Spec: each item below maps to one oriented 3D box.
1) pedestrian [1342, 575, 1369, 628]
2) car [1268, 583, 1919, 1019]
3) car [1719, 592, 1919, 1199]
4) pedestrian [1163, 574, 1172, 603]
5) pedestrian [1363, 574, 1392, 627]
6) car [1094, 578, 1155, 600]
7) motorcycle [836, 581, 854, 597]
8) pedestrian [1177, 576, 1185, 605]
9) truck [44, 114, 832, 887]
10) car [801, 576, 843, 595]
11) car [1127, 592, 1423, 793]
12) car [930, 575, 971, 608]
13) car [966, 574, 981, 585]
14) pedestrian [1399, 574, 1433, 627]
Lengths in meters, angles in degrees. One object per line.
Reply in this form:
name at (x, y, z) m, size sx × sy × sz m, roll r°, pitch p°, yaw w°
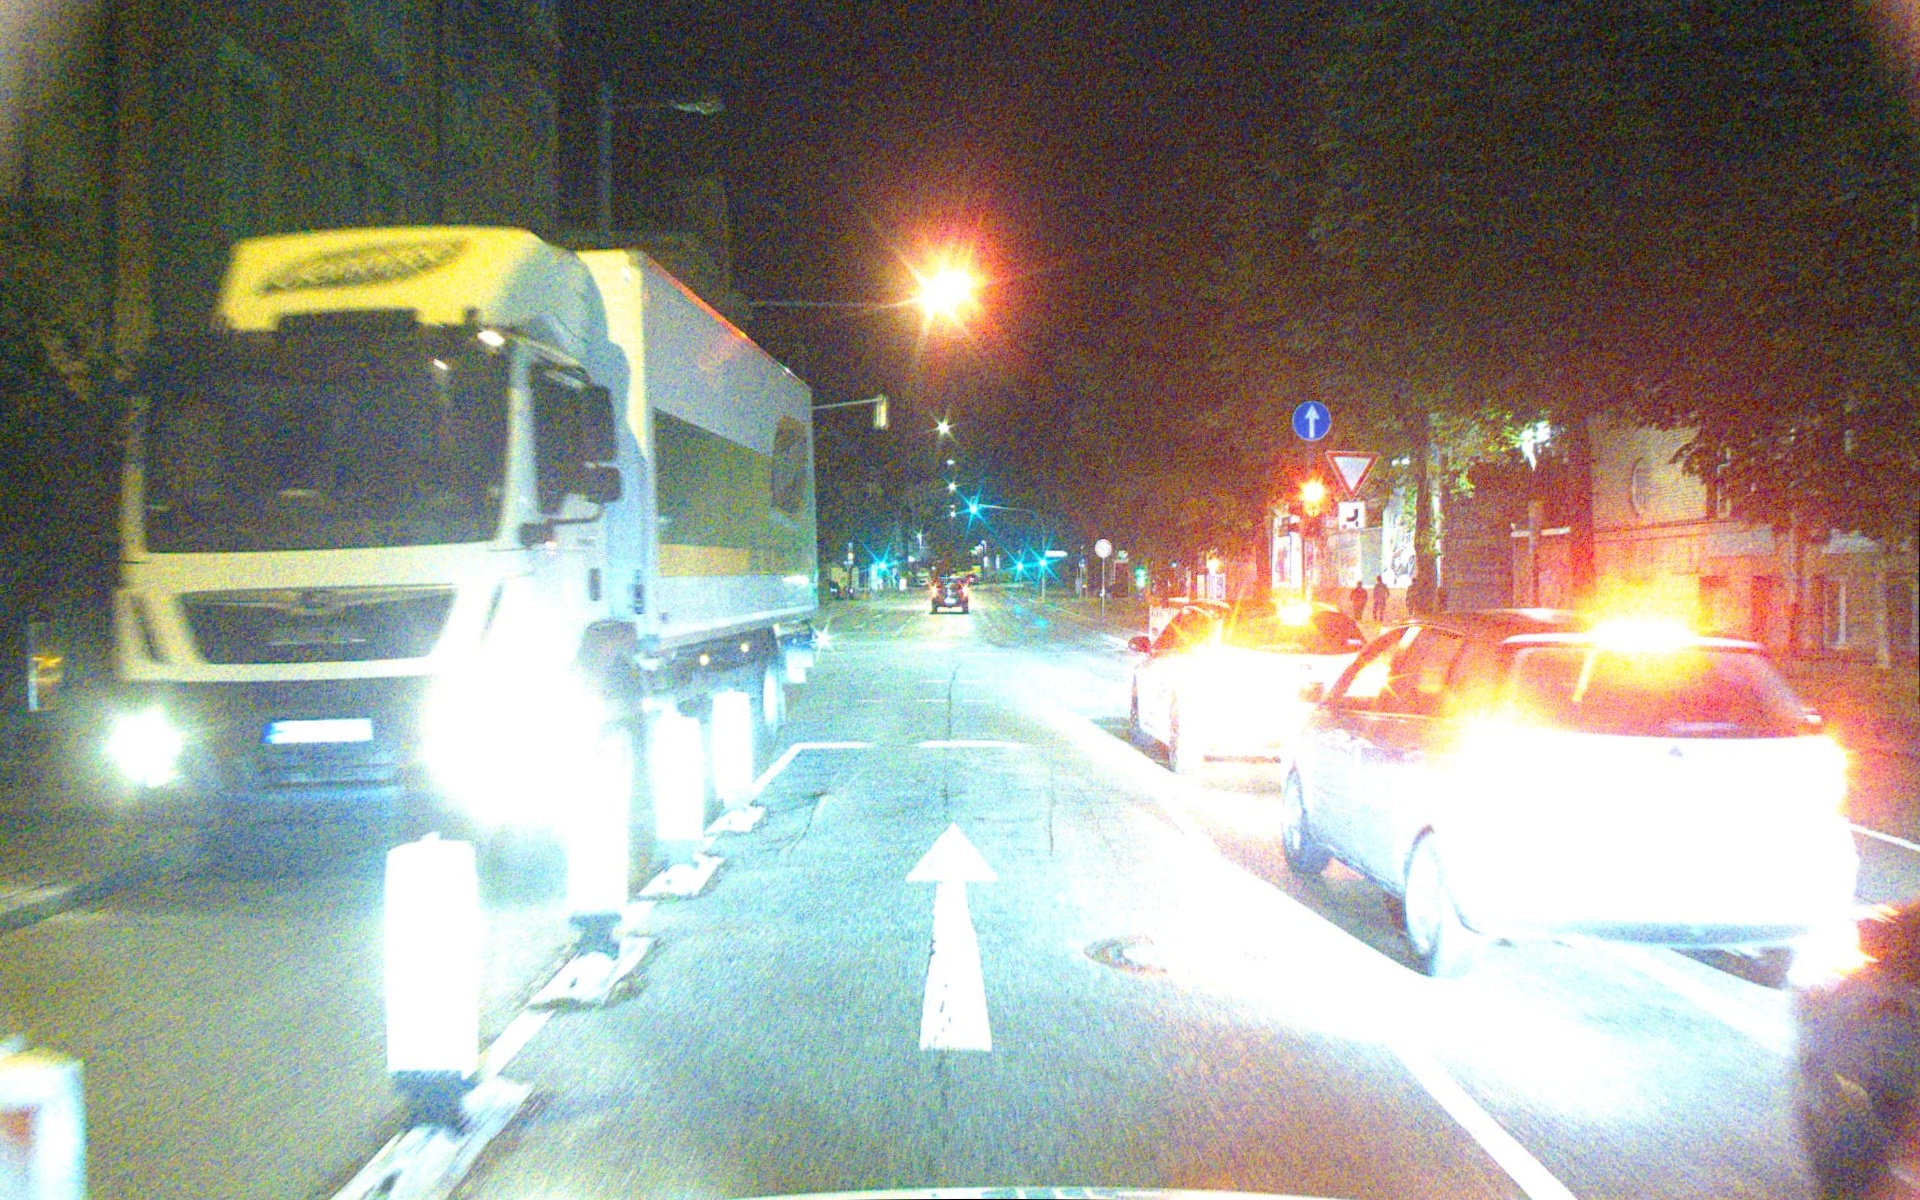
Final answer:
pedestrian at (13.653, 0.037, 57.121) m, size 0.699 × 1.800 × 0.907 m, roll -1°, pitch 0°, yaw -1°
car at (2.690, 0.709, 7.948) m, size 1.604 × 1.520 × 4.000 m, roll 2°, pitch 0°, yaw -1°
car at (2.844, 0.785, 1.892) m, size 1.768 × 1.520 × 4.730 m, roll 2°, pitch 0°, yaw 0°
pedestrian at (14.522, -0.813, 115.749) m, size 0.521 × 2.049 × 0.670 m, roll 0°, pitch 0°, yaw -1°
pedestrian at (14.451, 0.006, 57.268) m, size 0.723 × 1.800 × 0.907 m, roll -1°, pitch 0°, yaw -1°
car at (10.992, -0.723, 110.674) m, size 3.904 × 1.410 × 1.772 m, roll -1°, pitch 1°, yaw 2°
motorcycle at (-8.977, -0.890, 129.086) m, size 0.769 × 1.225 × 2.436 m, roll -1°, pitch 1°, yaw -19°
pedestrian at (15.538, -0.662, 116.431) m, size 0.478 × 2.049 × 0.551 m, roll 0°, pitch 0°, yaw -1°
truck at (-3.002, -0.528, 13.294) m, size 2.698 × 3.783 × 10.116 m, roll -1°, pitch 0°, yaw 2°
car at (-11.002, -1.139, 131.974) m, size 1.786 × 1.512 × 3.957 m, roll -1°, pitch 1°, yaw -32°
car at (2.619, 0.697, 14.720) m, size 1.694 × 1.460 × 4.209 m, roll 2°, pitch 0°, yaw -2°
car at (-0.513, -0.450, 84.465) m, size 1.953 × 1.668 × 3.999 m, roll 0°, pitch 0°, yaw -2°
car at (1.927, -2.942, 237.890) m, size 1.954 × 1.624 × 3.998 m, roll 0°, pitch 0°, yaw -3°
pedestrian at (15.788, 0.007, 57.285) m, size 0.882 × 1.800 × 0.907 m, roll -1°, pitch 0°, yaw -1°
